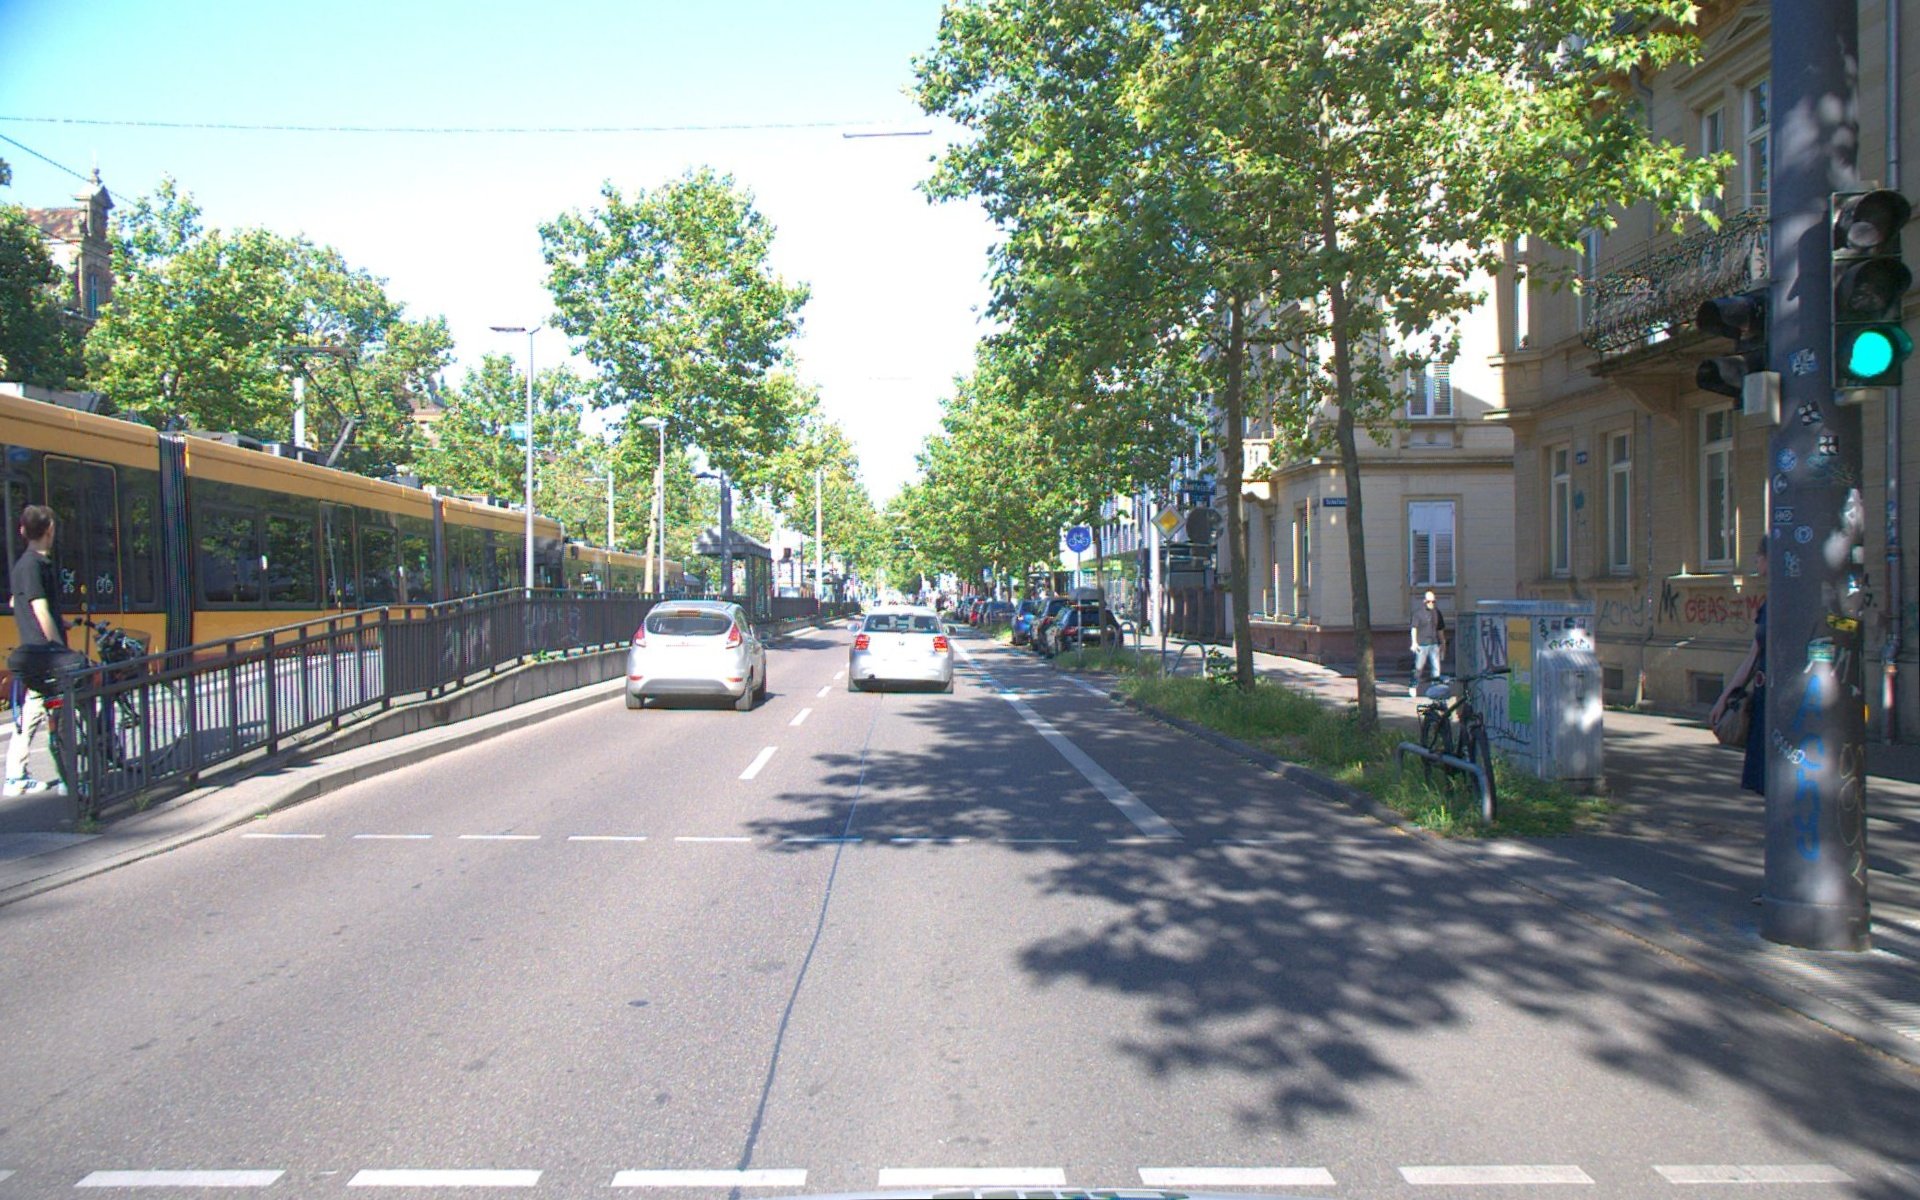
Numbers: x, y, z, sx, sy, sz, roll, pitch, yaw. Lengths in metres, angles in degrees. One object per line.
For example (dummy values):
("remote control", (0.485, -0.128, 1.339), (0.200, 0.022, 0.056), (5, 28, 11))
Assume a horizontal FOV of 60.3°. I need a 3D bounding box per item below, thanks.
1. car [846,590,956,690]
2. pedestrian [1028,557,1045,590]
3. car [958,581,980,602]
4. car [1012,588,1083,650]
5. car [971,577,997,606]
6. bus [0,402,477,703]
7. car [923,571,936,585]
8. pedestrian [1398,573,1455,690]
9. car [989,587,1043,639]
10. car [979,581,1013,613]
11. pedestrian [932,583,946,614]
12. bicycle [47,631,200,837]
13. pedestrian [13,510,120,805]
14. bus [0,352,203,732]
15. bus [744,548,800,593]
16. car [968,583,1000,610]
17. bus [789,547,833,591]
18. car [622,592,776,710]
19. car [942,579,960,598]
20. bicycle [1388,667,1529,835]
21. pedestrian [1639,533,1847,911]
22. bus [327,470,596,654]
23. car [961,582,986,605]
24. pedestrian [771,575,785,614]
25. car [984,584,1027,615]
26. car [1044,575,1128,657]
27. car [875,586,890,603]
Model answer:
("car", (-1.034, 0.626, 28.510), (1.727, 1.457, 3.999), (1, 2, -2))
("pedestrian", (4.797, -1.643, 103.896), (0.944, 2.049, 0.938), (-1, 0, -2))
("car", (0.701, -0.726, 133.550), (1.666, 1.560, 3.716), (1, 2, -2))
("car", (2.607, 0.526, 50.290), (1.762, 1.729, 4.736), (-1, 1, -2))
("car", (1.685, -0.618, 116.799), (1.689, 1.913, 3.999), (1, 1, -2))
("bus", (-10.522, -0.614, 25.512), (2.811, 3.504, 12.211), (-1, 1, -1))
("car", (-4.596, -3.354, 250.033), (1.953, 2.048, 4.000), (-1, 2, -1))
("pedestrian", (7.681, 0.503, 27.238), (0.553, 1.858, 0.958), (1, 1, -5))
("car", (1.978, 0.446, 59.496), (1.658, 1.686, 4.038), (0, 2, -2))
("car", (1.959, -0.194, 90.907), (1.635, 1.578, 4.000), (1, 2, -2))
("pedestrian", (-1.410, -0.131, 111.834), (0.820, 2.048, 0.649), (2, 1, 5))
("bicycle", (-5.631, 0.851, 11.219), (0.322, 1.235, 1.826), (-1, 0, -8))
("pedestrian", (-6.047, 0.375, 11.215), (0.442, 1.936, 0.583), (-1, 0, -9))
("bus", (-10.179, -0.501, 12.820), (2.811, 3.504, 13.213), (-1, 1, -1))
("bus", (-16.580, -2.733, 148.034), (2.811, 3.691, 24.599), (0, 2, -1))
("car", (1.445, -0.243, 100.873), (1.769, 1.547, 3.999), (1, 1, -2))
("bus", (-13.191, -2.861, 147.768), (2.694, 3.688, 18.844), (0, 2, -1))
("car", (-3.582, 0.655, 23.245), (1.613, 1.386, 3.759), (1, 2, -1))
("car", (-1.046, -1.283, 187.970), (1.953, 2.048, 4.000), (1, 2, -2))
("bicycle", (3.564, 1.048, 11.954), (0.419, 0.987, 1.750), (1, 2, -2))
("pedestrian", (3.948, 0.576, 8.401), (0.628, 1.802, 0.869), (2, 1, 4))
("bus", (-10.832, -0.777, 37.507), (2.811, 3.504, 11.608), (-1, 1, -1))
("car", (1.007, -0.535, 125.981), (1.677, 1.590, 4.000), (1, 2, -2))
("pedestrian", (-9.450, -0.292, 85.864), (0.626, 1.988, 0.813), (1, 1, -2))
("car", (2.314, -0.040, 85.600), (1.953, 1.535, 4.596), (1, 0, -2))
("car", (3.302, 0.371, 44.090), (1.719, 1.999, 4.736), (0, 2, -2))
("car", (-10.542, -0.749, 225.749), (1.953, 2.048, 4.000), (1, 2, -2))
